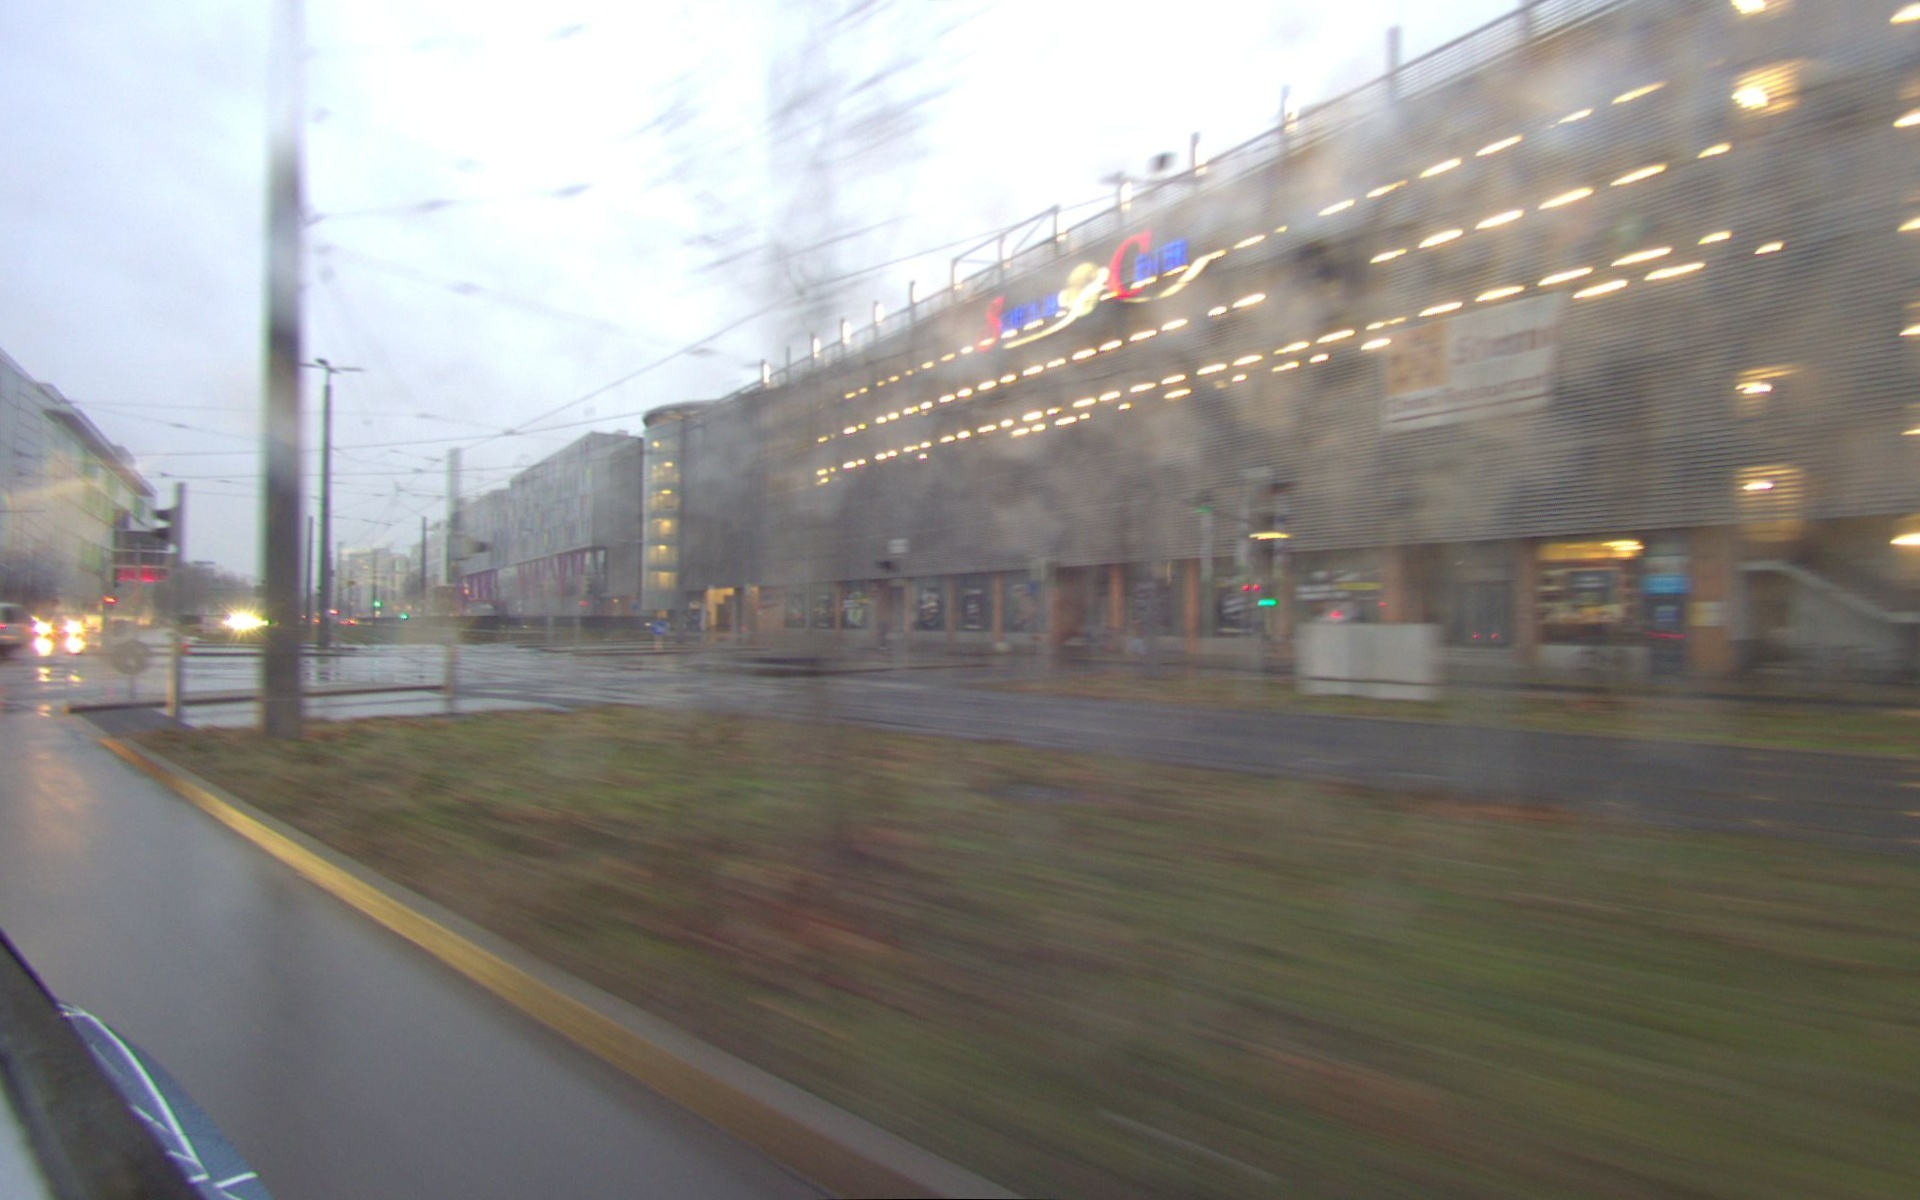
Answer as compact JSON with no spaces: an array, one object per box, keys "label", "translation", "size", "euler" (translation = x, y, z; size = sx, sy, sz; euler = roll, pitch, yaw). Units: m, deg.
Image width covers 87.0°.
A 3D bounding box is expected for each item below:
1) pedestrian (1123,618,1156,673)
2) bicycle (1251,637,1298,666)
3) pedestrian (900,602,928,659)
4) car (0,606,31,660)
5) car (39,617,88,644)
[{"label":"pedestrian","translation":[8.232,2.062,46.522],"size":[0.950,2.457,1.117],"euler":[2,-1,-33]},{"label":"bicycle","translation":[13.360,2.170,43.046],"size":[0.469,1.130,2.097],"euler":[2,-1,-34]},{"label":"pedestrian","translation":[-2.456,1.621,53.901],"size":[1.095,2.947,0.969],"euler":[2,-1,-33]},{"label":"car","translation":[-33.570,1.070,32.901],"size":[4.530,1.732,1.936],"euler":[1,-1,-22]},{"label":"car","translation":[-57.394,1.920,64.821],"size":[1.803,1.674,4.010],"euler":[1,-2,-34]}]
